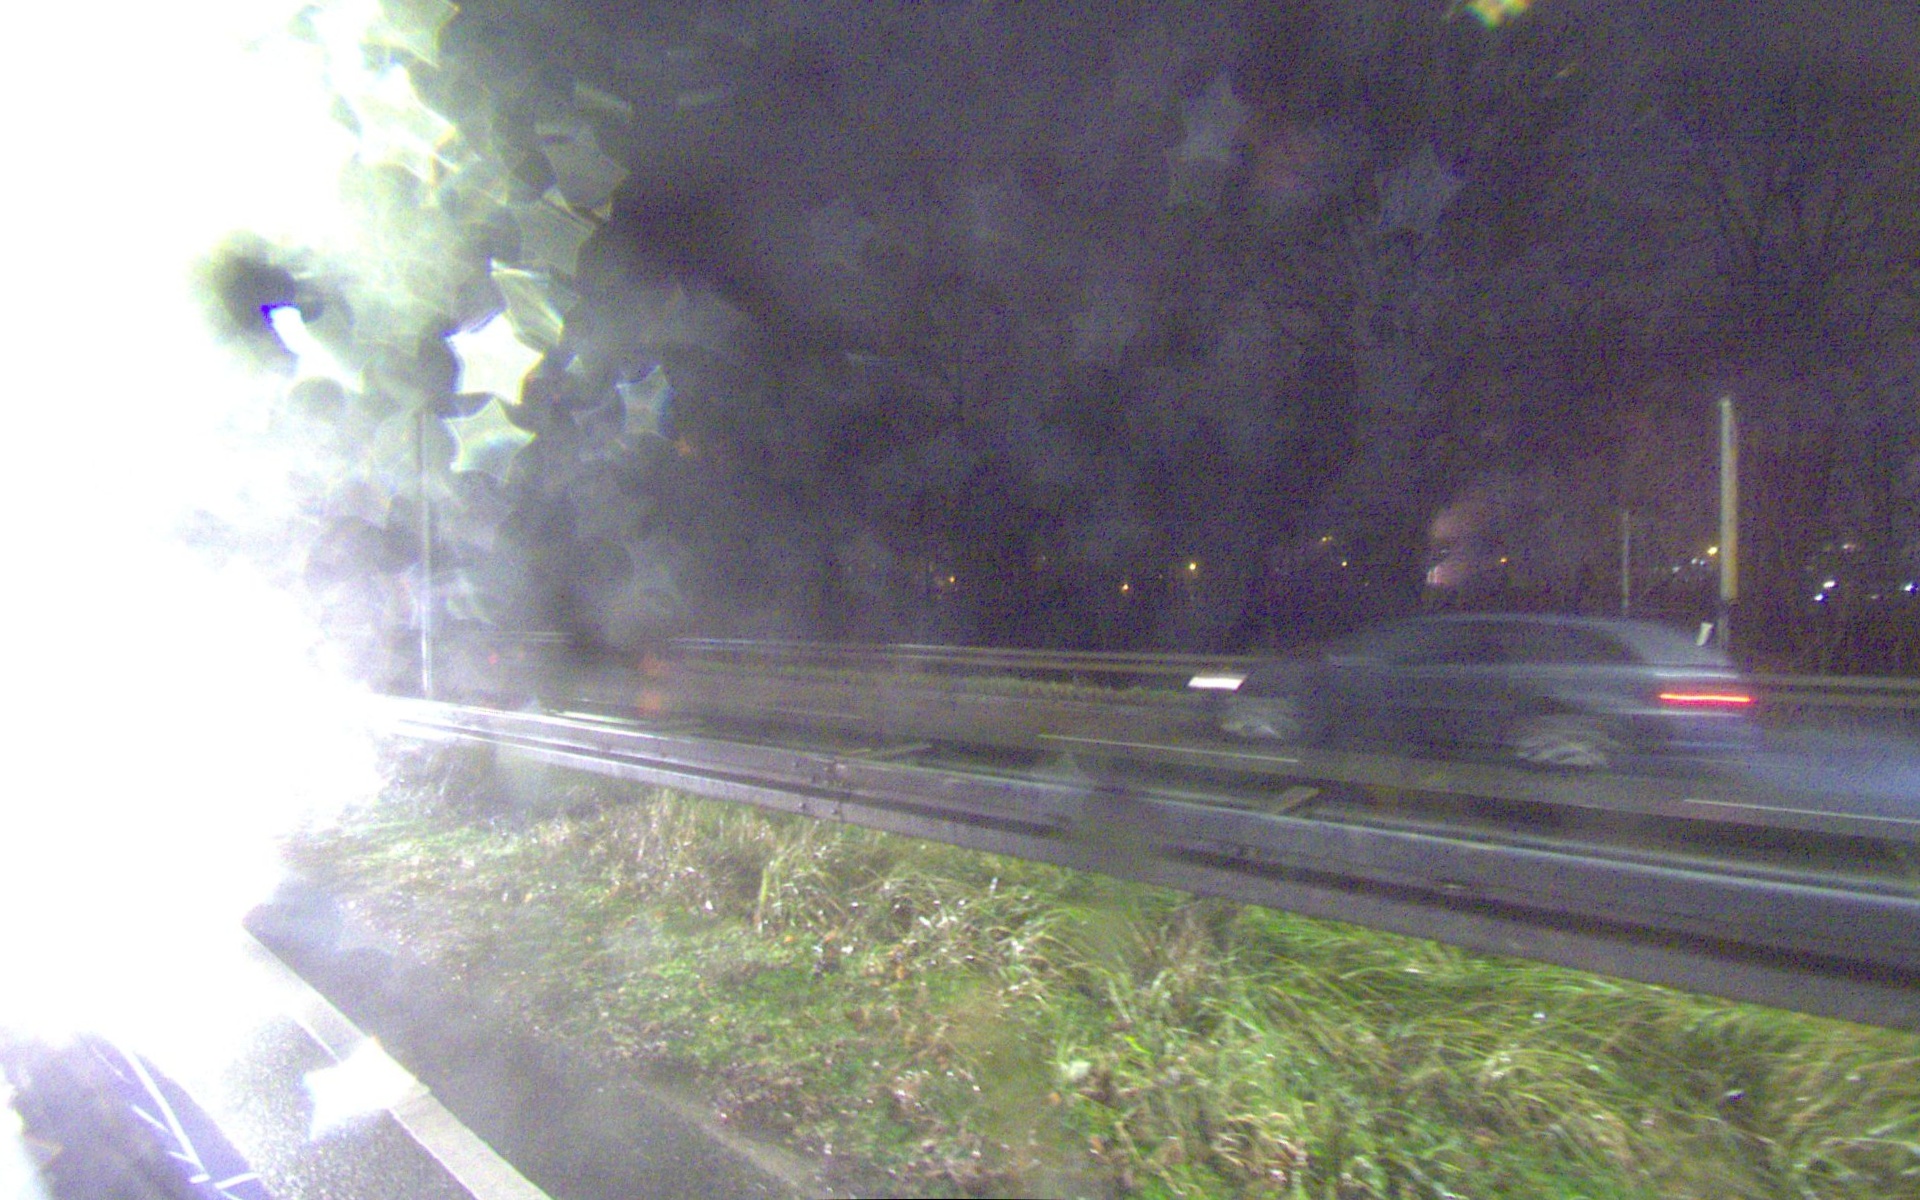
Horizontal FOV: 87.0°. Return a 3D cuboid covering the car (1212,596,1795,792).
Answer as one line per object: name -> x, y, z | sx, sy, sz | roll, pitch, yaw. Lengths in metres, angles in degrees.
car -> 5.213, 0.764, 10.160 | 4.834, 1.520, 1.974 | 0, -2, 39

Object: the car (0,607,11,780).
car -> -9.752, 0.812, 8.973 | 3.388, 1.436, 1.585 | 0, 2, 41

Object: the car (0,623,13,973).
car -> -5.673, 0.833, 4.727 | 3.388, 1.435, 1.478 | 0, 1, 41
